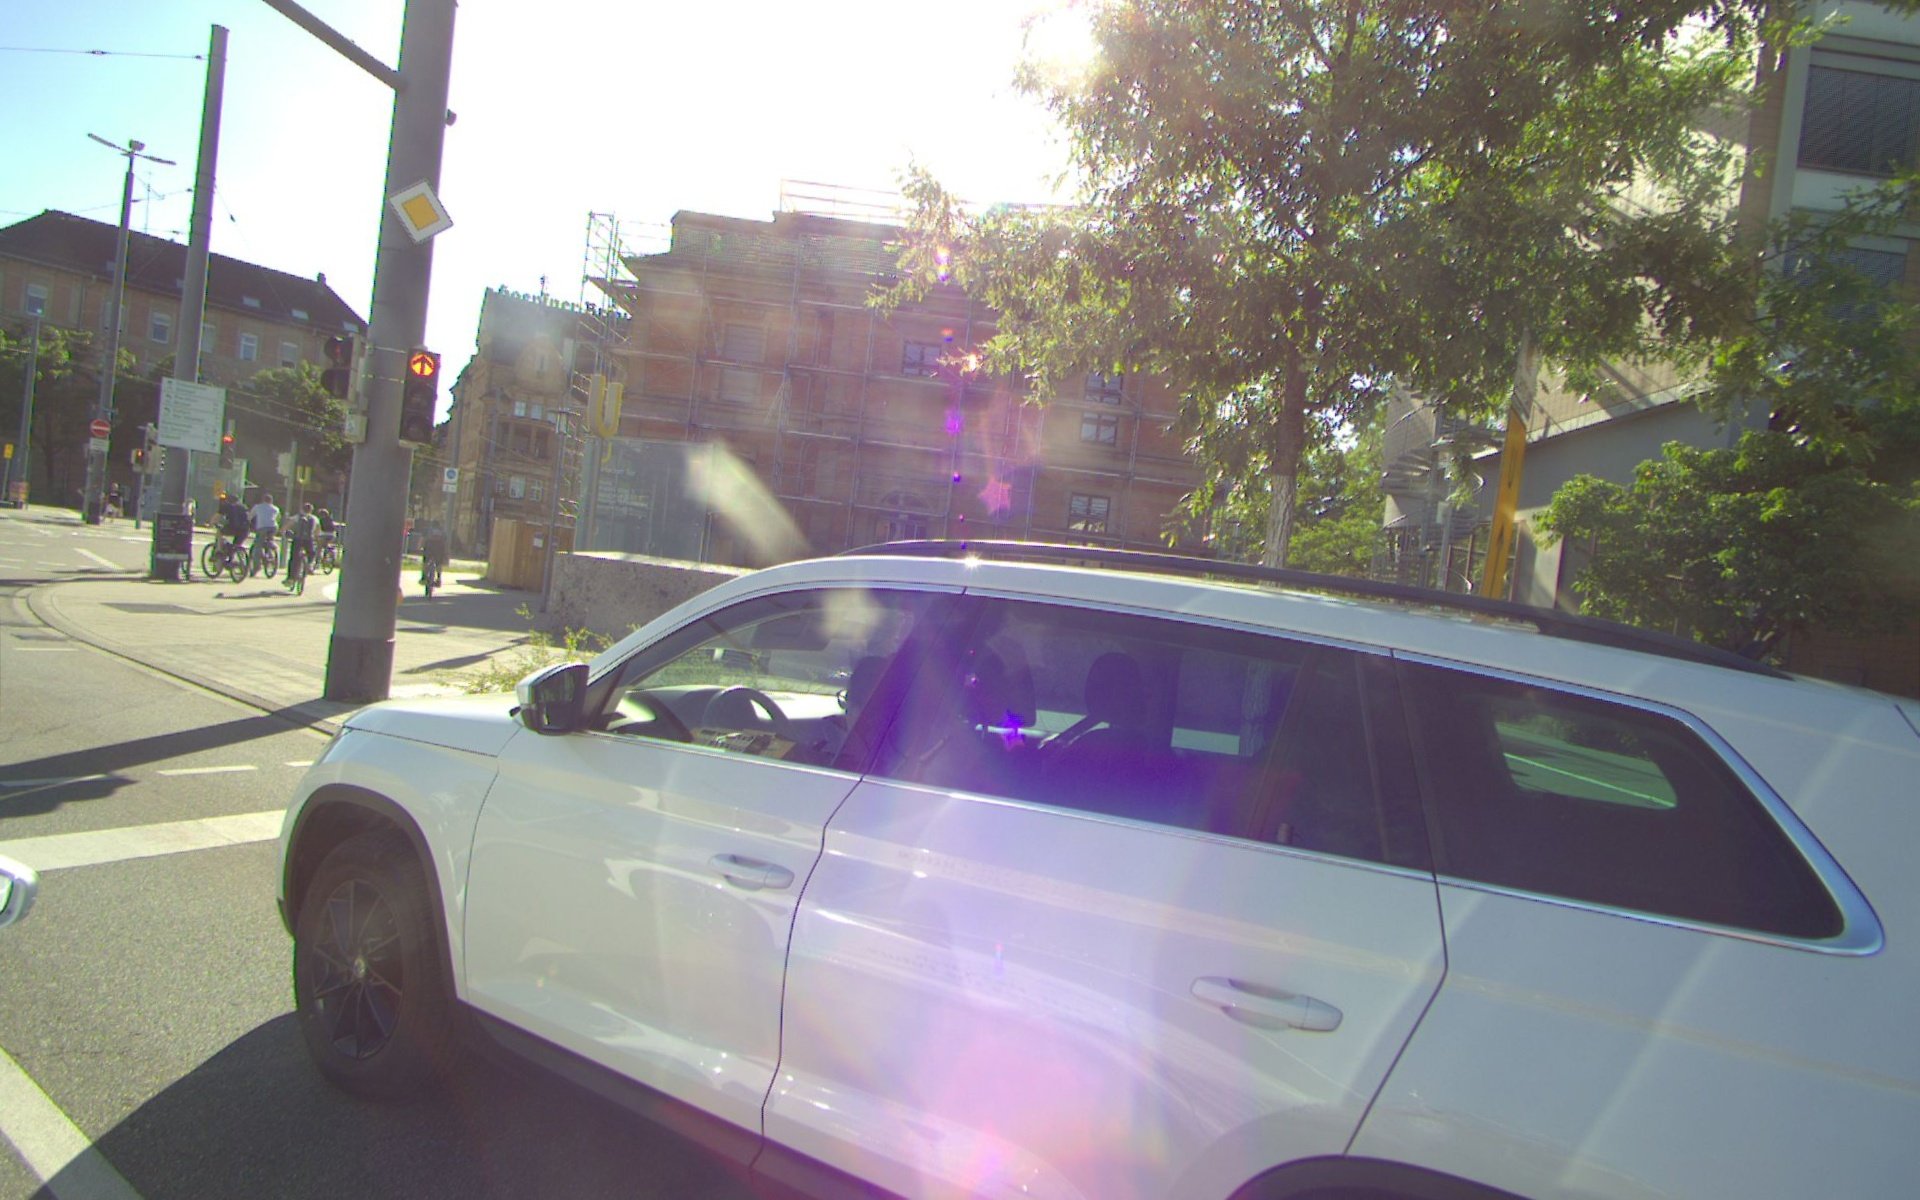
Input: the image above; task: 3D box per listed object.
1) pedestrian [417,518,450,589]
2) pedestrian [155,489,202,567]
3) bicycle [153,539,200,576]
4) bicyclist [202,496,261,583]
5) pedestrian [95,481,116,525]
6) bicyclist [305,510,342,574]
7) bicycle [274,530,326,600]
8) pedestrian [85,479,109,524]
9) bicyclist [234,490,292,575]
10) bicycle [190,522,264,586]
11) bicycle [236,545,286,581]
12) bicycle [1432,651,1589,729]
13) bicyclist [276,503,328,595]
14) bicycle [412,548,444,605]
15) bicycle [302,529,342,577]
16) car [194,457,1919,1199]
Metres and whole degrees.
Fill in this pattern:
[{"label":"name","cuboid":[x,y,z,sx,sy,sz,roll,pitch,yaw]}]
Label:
[{"label":"pedestrian","cuboid":[-11.099,-0.990,21.195,0.511,1.421,0.954,4,3,-29]},{"label":"pedestrian","cuboid":[-16.806,-1.544,21.639,0.846,1.582,0.547,7,1,42]},{"label":"bicycle","cuboid":[-17.054,-0.922,21.881,1.702,0.664,0.535,7,3,43]},{"label":"bicyclist","cuboid":[-14.748,-1.228,20.366,0.979,1.660,0.625,7,3,35]},{"label":"pedestrian","cuboid":[-41.438,-4.717,48.791,0.443,2.039,0.462,7,2,14]},{"label":"bicyclist","cuboid":[-17.053,-1.558,26.938,0.569,1.588,0.936,6,1,-41]},{"label":"bicycle","cuboid":[-12.452,-0.686,19.012,0.680,1.178,1.867,6,1,-33]},{"label":"pedestrian","cuboid":[-41.119,-4.668,47.956,0.443,2.039,0.574,7,1,14]},{"label":"bicyclist","cuboid":[-15.778,-1.519,22.774,0.910,1.802,0.746,8,2,39]},{"label":"bicycle","cuboid":[-14.951,-0.946,20.504,1.822,1.129,0.625,7,3,35]},{"label":"bicycle","cuboid":[-15.893,-0.839,22.863,1.446,0.664,0.536,7,2,39]},{"label":"bicycle","cuboid":[13.086,2.122,24.003,3.079,1.395,0.798,7,1,8]},{"label":"bicyclist","cuboid":[-12.453,-0.972,19.055,0.680,1.618,0.968,6,1,-33]},{"label":"bicycle","cuboid":[-11.229,-0.510,21.210,0.511,1.058,1.754,4,2,-29]},{"label":"bicycle","cuboid":[-17.127,-1.271,26.994,0.569,1.139,1.720,6,1,-41]},{"label":"car","cuboid":[-0.009,0.676,2.706,4.224,1.662,1.697,7,0,30]}]
